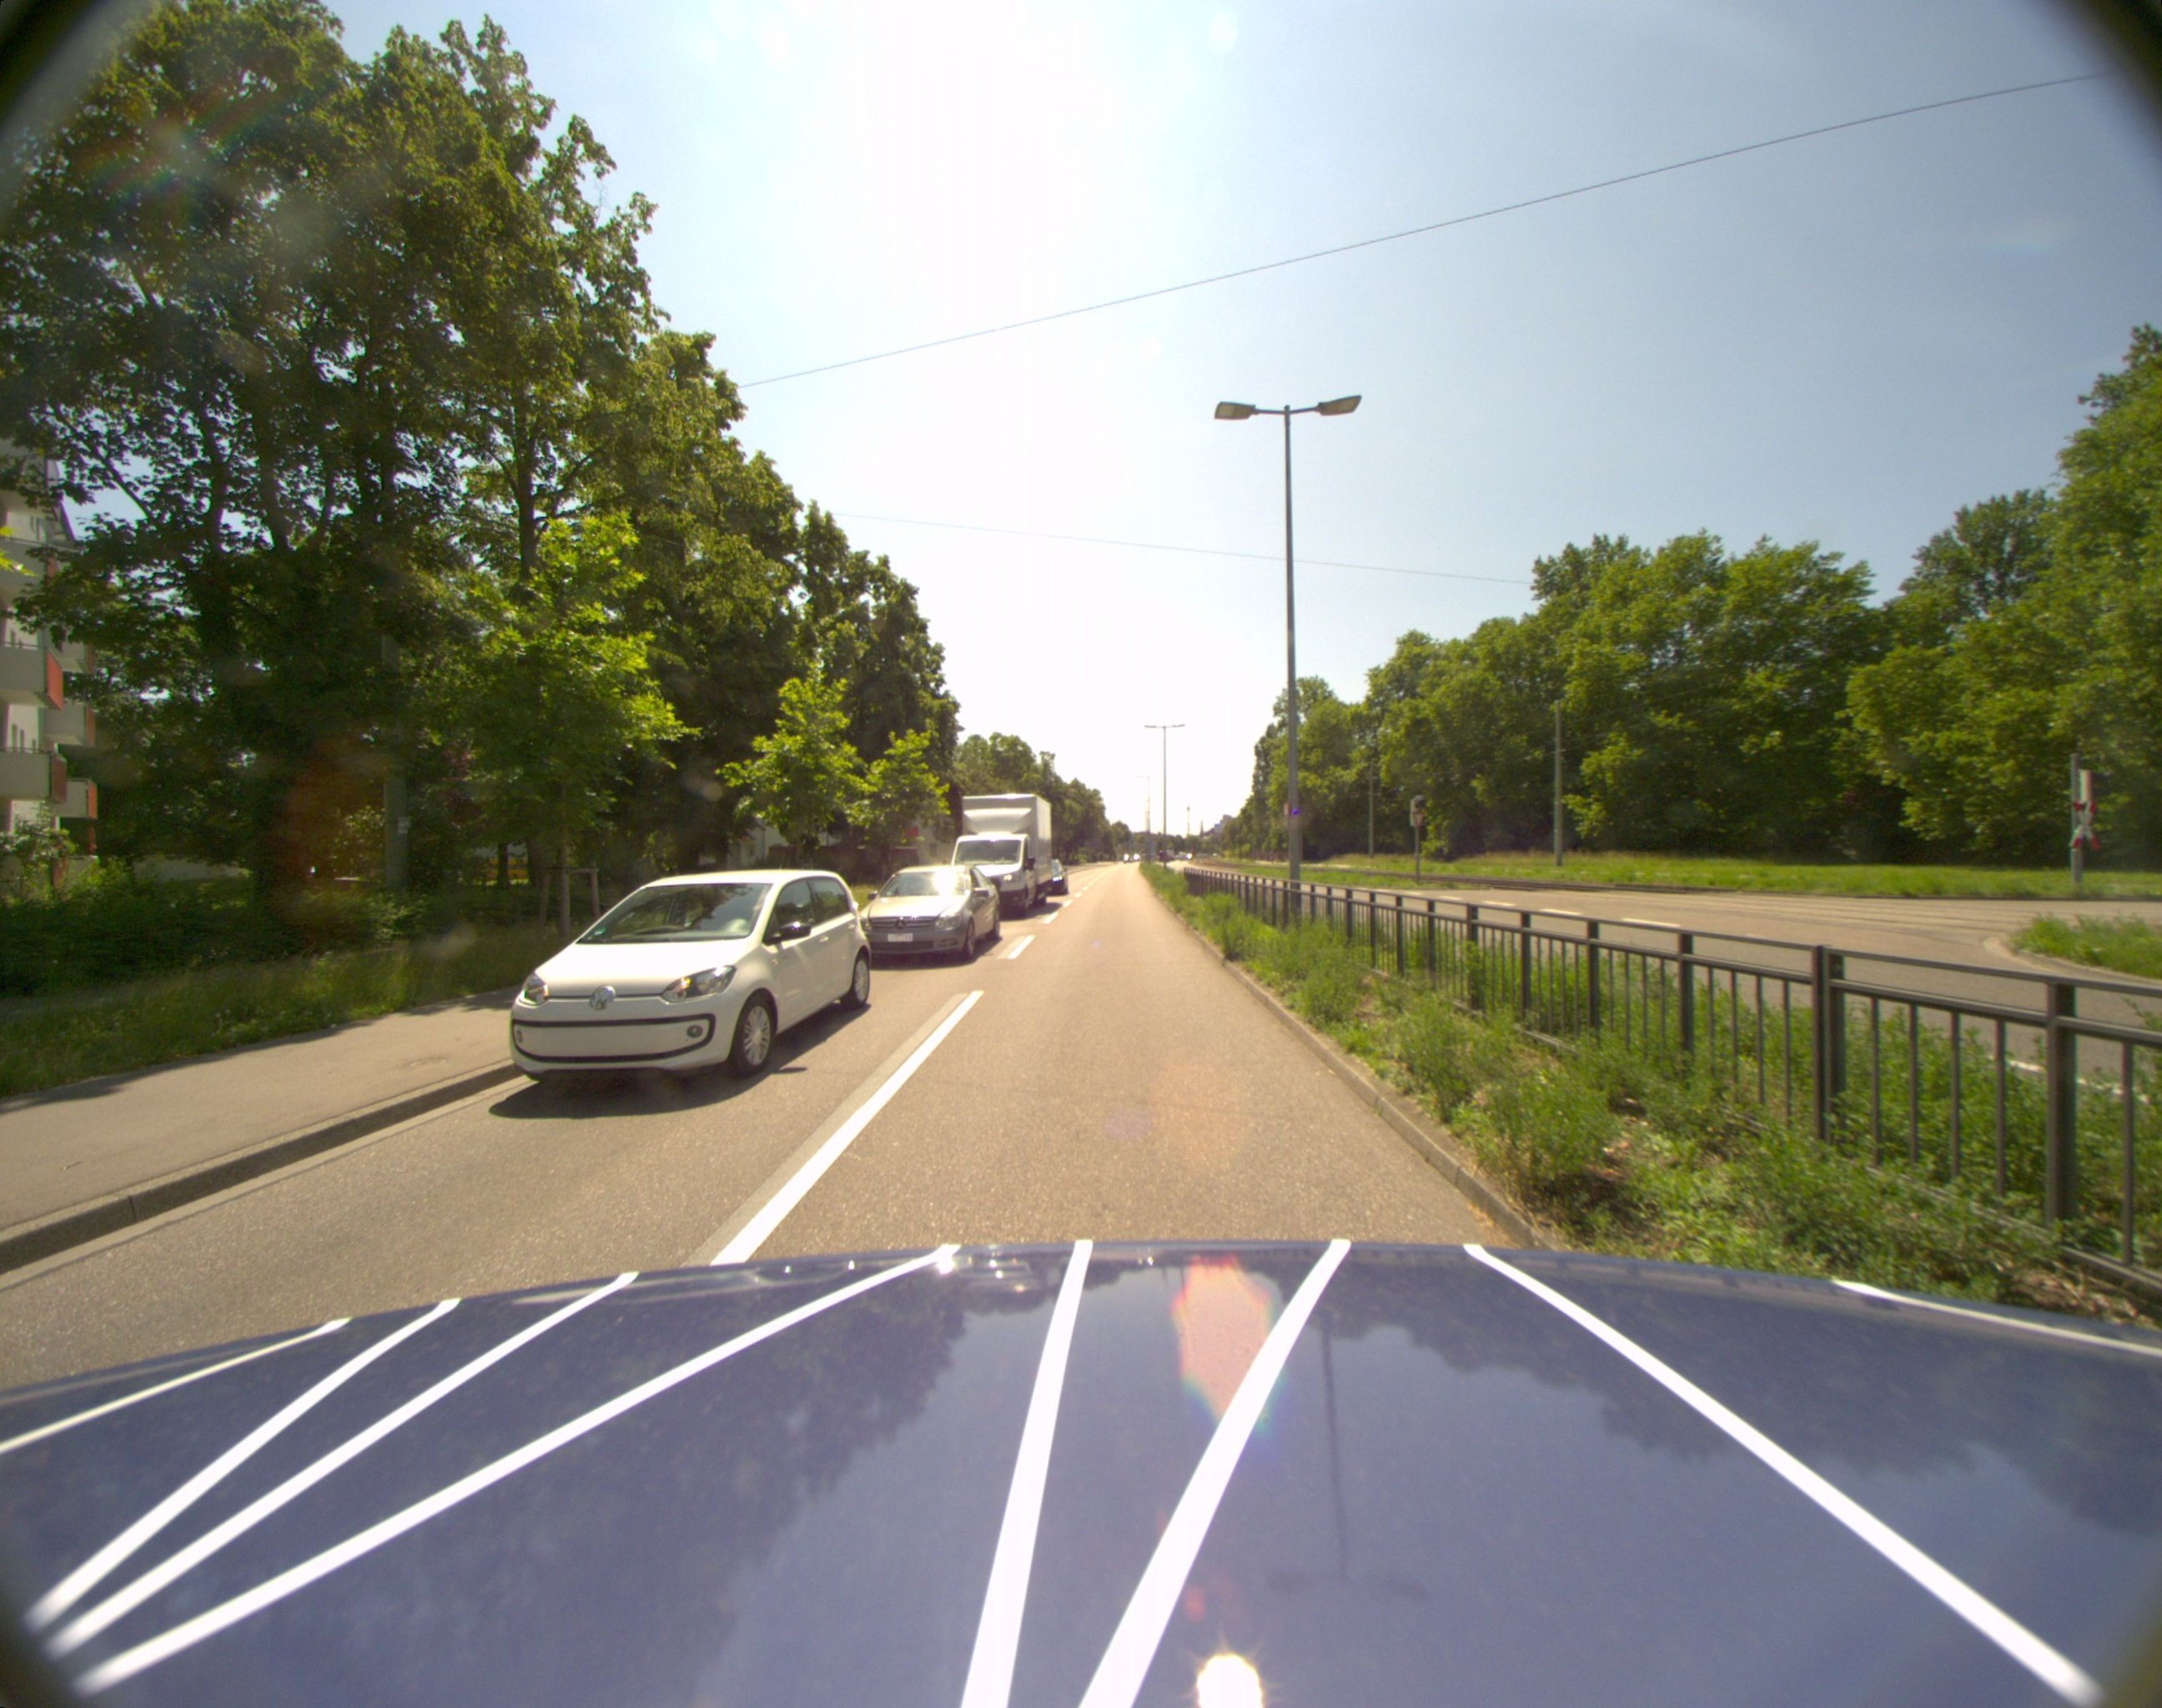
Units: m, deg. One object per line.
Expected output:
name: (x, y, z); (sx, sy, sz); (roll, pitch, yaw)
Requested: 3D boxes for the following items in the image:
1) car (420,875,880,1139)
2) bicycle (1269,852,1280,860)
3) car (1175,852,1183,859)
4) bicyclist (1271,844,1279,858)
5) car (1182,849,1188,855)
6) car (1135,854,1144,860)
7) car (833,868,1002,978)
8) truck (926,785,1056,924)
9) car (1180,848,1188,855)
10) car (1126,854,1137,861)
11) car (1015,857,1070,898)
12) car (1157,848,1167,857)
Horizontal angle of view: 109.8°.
car: (-3.126, 0.991, 6.522); (1.730, 1.470, 3.771); (-1, 0, 1)
bicycle: (26.228, 0.269, 102.917); (0.862, 1.155, 2.787); (-1, 0, 1)
car: (26.650, 0.336, 207.274); (1.998, 1.847, 4.001); (-1, 0, 5)
bicyclist: (26.241, -0.392, 102.852); (0.862, 1.796, 1.118); (-1, 1, 1)
car: (35.041, -0.778, 256.376); (1.997, 2.002, 4.001); (-2, 1, 7)
car: (14.830, 0.851, 192.418); (1.997, 1.499, 4.002); (-1, 0, 7)
car: (-2.474, 0.989, 12.543); (1.840, 1.400, 4.087); (-1, 0, 1)
truck: (-2.298, -0.004, 22.282); (2.433, 3.326, 7.923); (-1, 0, 3)
car: (27.176, -0.582, 200.783); (1.998, 1.846, 4.001); (-1, 0, 5)
car: (10.586, 0.682, 159.640); (1.997, 1.499, 4.002); (-1, 0, 7)
car: (-1.506, 0.920, 31.457); (1.998, 1.499, 4.000); (-1, 0, 1)
car: (16.416, -0.291, 154.002); (1.997, 1.846, 4.002); (-1, 0, 7)
